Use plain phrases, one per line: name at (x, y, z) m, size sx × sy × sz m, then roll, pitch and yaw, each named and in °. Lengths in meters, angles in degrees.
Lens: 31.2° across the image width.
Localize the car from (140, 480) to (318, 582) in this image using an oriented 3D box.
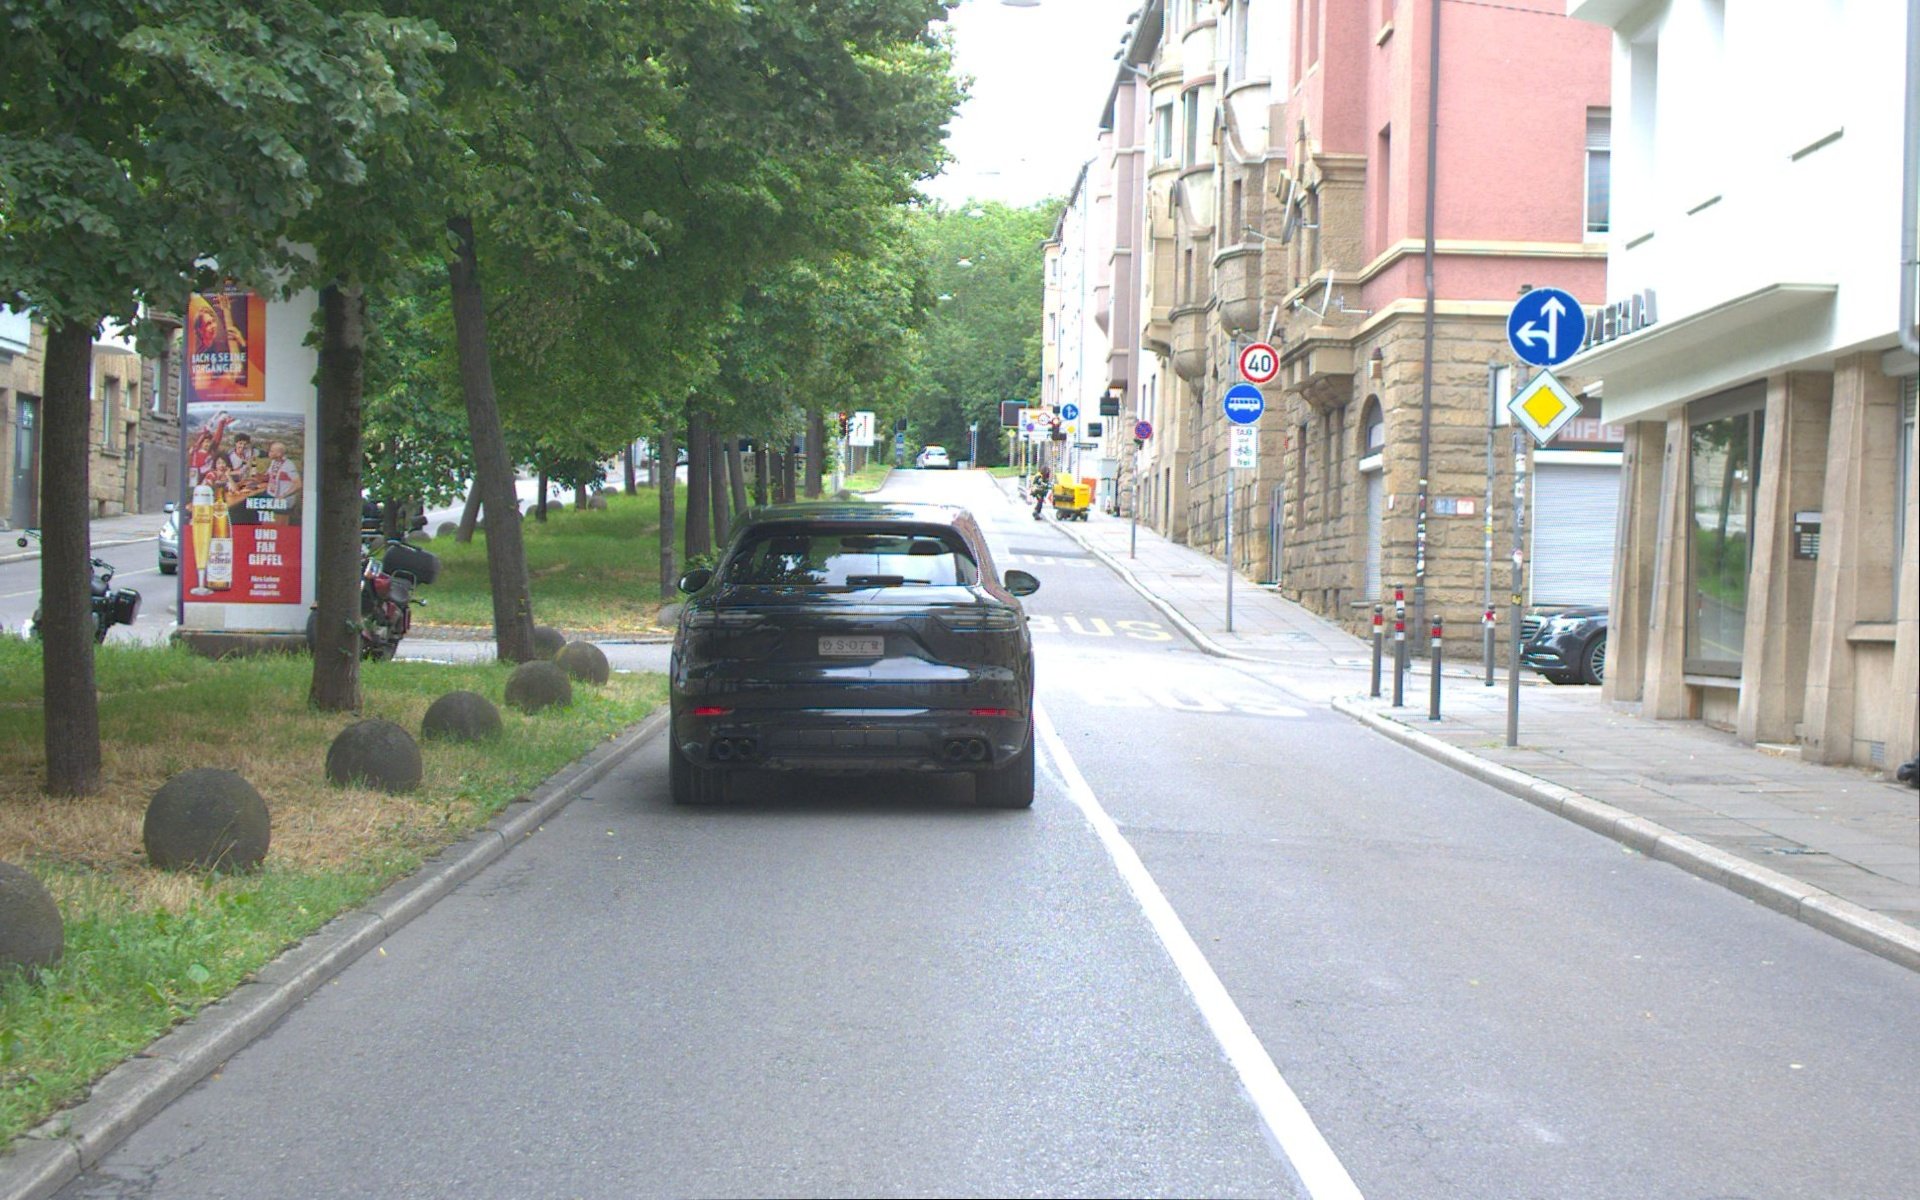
car at (-12.391, -1.195, 58.559) m, size 1.993 × 1.618 × 4.816 m, roll 2°, pitch 2°, yaw 0°

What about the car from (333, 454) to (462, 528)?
car at (-11.975, -2.324, 73.451) m, size 1.993 × 1.478 × 4.532 m, roll 2°, pitch 2°, yaw 0°

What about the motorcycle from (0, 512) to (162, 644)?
motorcycle at (-7.706, -0.181, 30.106) m, size 0.900 × 1.103 × 2.251 m, roll 1°, pitch 0°, yaw 0°

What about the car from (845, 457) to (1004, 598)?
car at (-0.456, -0.976, 46.124) m, size 1.993 × 1.747 × 4.000 m, roll 2°, pitch 1°, yaw 0°

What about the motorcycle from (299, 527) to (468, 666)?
motorcycle at (-5.037, -0.055, 30.235) m, size 1.062 × 1.144 × 2.448 m, roll 1°, pitch 1°, yaw 0°

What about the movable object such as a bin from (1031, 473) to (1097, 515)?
movable object such as a bin at (3.253, -3.313, 107.646) m, size 1.237 × 1.270 × 1.846 m, roll 1°, pitch 1°, yaw -29°

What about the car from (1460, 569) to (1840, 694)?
car at (8.166, 0.361, 40.714) m, size 3.986 × 1.371 × 2.000 m, roll 0°, pitch 1°, yaw -26°

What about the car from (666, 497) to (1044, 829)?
car at (-0.616, 0.278, 19.804) m, size 1.903 × 1.660 × 4.136 m, roll 2°, pitch 1°, yaw -2°

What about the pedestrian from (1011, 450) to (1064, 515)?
pedestrian at (2.457, -3.729, 108.926) m, size 1.301 × 2.007 × 1.020 m, roll 1°, pitch 1°, yaw -30°
